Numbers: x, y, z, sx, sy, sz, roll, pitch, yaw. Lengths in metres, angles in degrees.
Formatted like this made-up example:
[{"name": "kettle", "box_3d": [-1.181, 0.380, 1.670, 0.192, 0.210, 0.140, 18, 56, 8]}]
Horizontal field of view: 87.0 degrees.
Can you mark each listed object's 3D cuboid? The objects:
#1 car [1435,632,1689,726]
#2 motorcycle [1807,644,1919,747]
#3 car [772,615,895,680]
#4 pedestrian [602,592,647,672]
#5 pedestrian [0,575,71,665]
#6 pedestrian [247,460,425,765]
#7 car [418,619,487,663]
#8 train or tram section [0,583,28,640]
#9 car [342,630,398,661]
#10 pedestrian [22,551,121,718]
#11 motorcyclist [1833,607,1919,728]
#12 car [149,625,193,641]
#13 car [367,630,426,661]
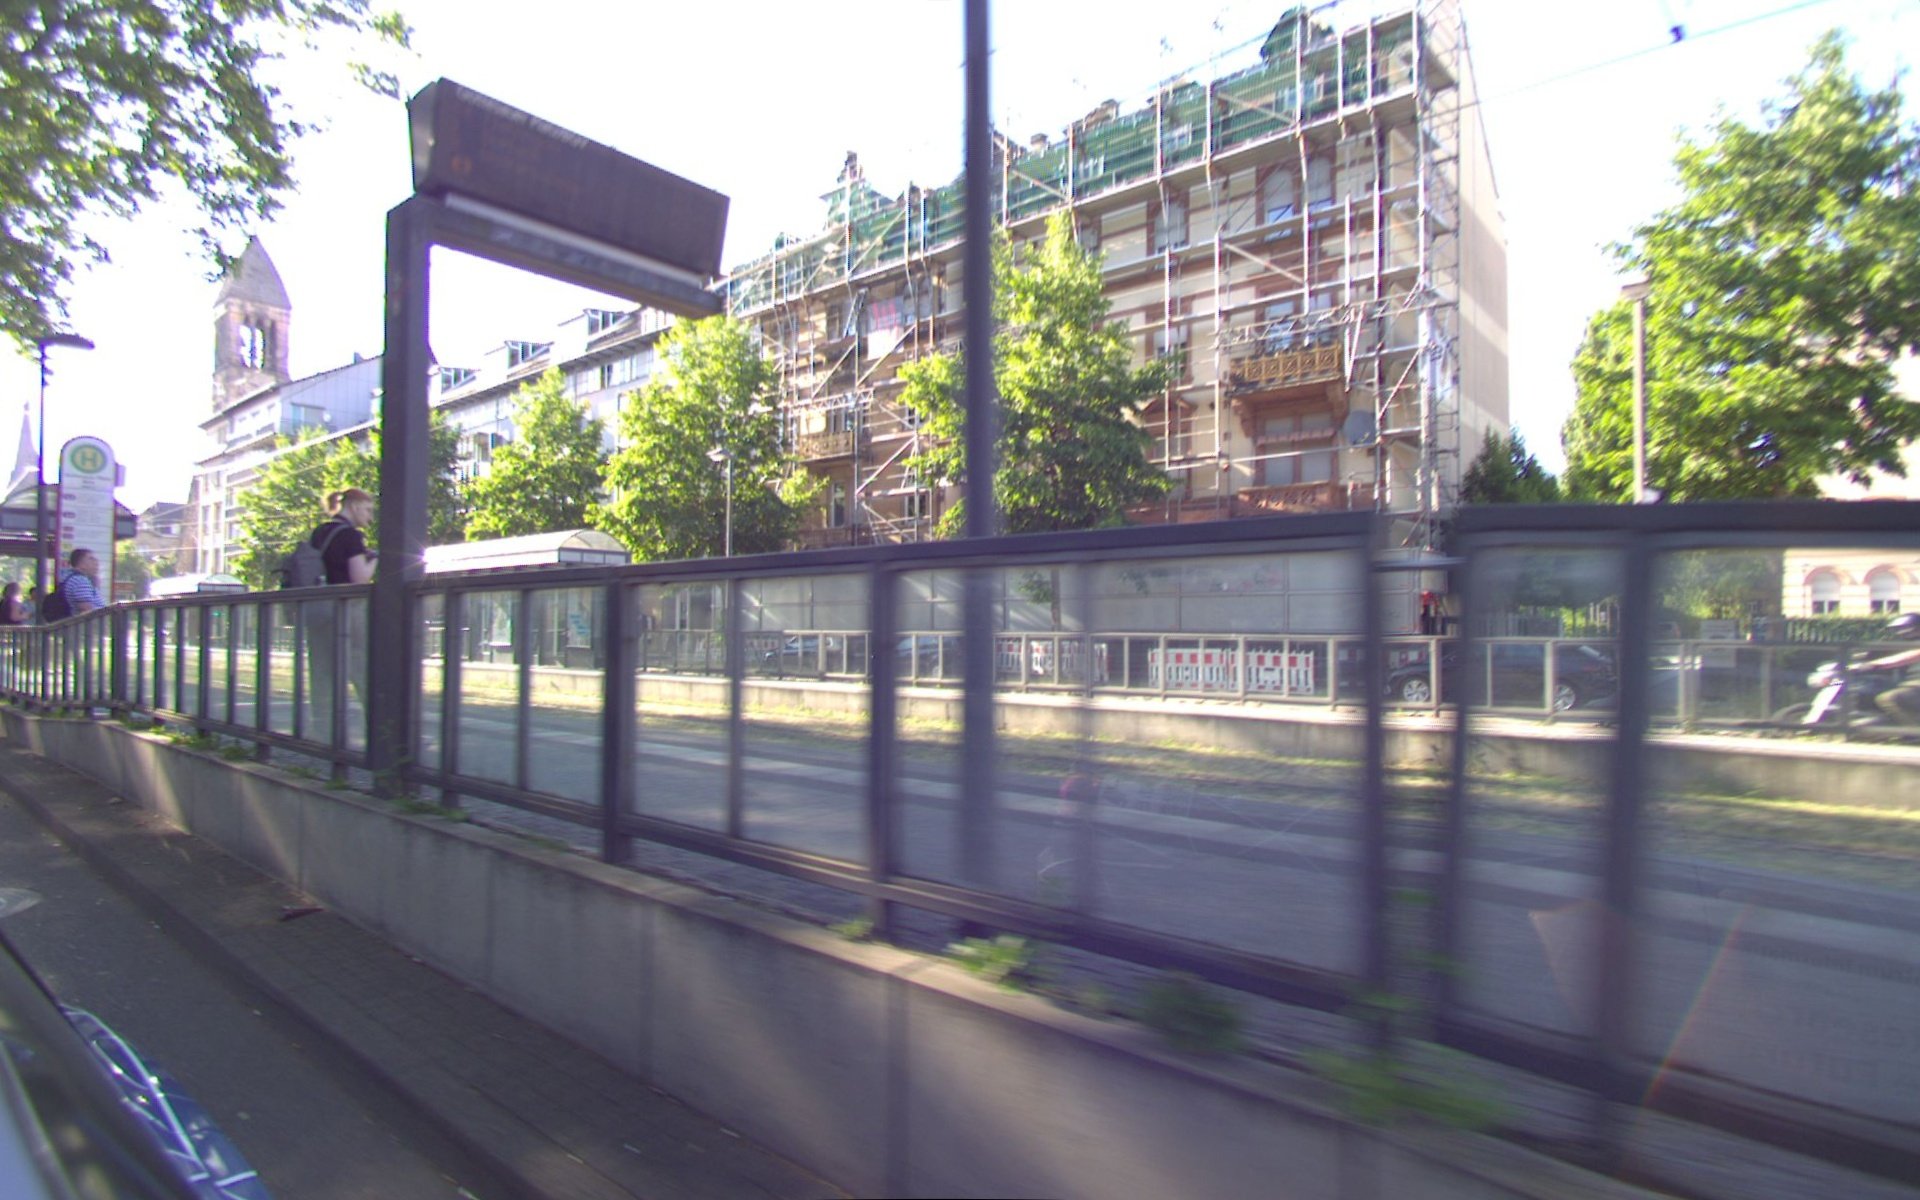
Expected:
[{"name": "car", "box_3d": [11.905, 1.481, 20.191, 4.067, 1.598, 1.702, -1, 0, 45]}, {"name": "motorcycle", "box_3d": [10.973, 1.055, 11.186, 2.397, 1.081, 0.810, -1, 0, 36]}, {"name": "car", "box_3d": [-4.288, 1.540, 33.968, 3.999, 2.029, 1.972, -1, 0, 42]}, {"name": "pedestrian", "box_3d": [-7.365, 0.693, 22.214, 0.654, 1.703, 0.672, -1, -1, 39]}, {"name": "pedestrian", "box_3d": [-18.438, 0.395, 20.170, 0.624, 1.735, 0.908, -1, 0, 7]}, {"name": "pedestrian", "box_3d": [-3.782, 0.072, 6.143, 0.678, 1.703, 0.749, -1, -1, 41]}, {"name": "car", "box_3d": [-26.630, 2.131, 53.096, 3.782, 2.183, 1.920, -1, 0, 40]}, {"name": "train or tram section", "box_3d": [-68.129, 0.817, 70.642, 14.552, 3.714, 2.840, -1, -3, 41]}, {"name": "car", "box_3d": [-35.378, 2.689, 60.642, 3.782, 1.690, 1.788, -1, 0, 40]}, {"name": "pedestrian", "box_3d": [-9.528, 0.356, 10.850, 0.894, 1.703, 0.672, -1, -1, 41]}, {"name": "motorcyclist", "box_3d": [10.717, 0.743, 11.370, 1.274, 1.309, 0.810, -1, -1, 36]}, {"name": "car", "box_3d": [-94.570, 3.908, 121.319, 1.869, 1.819, 3.973, -1, 0, 41]}, {"name": "car", "box_3d": [-32.387, 2.557, 58.120, 3.782, 1.648, 1.788, -1, 0, 40]}]
